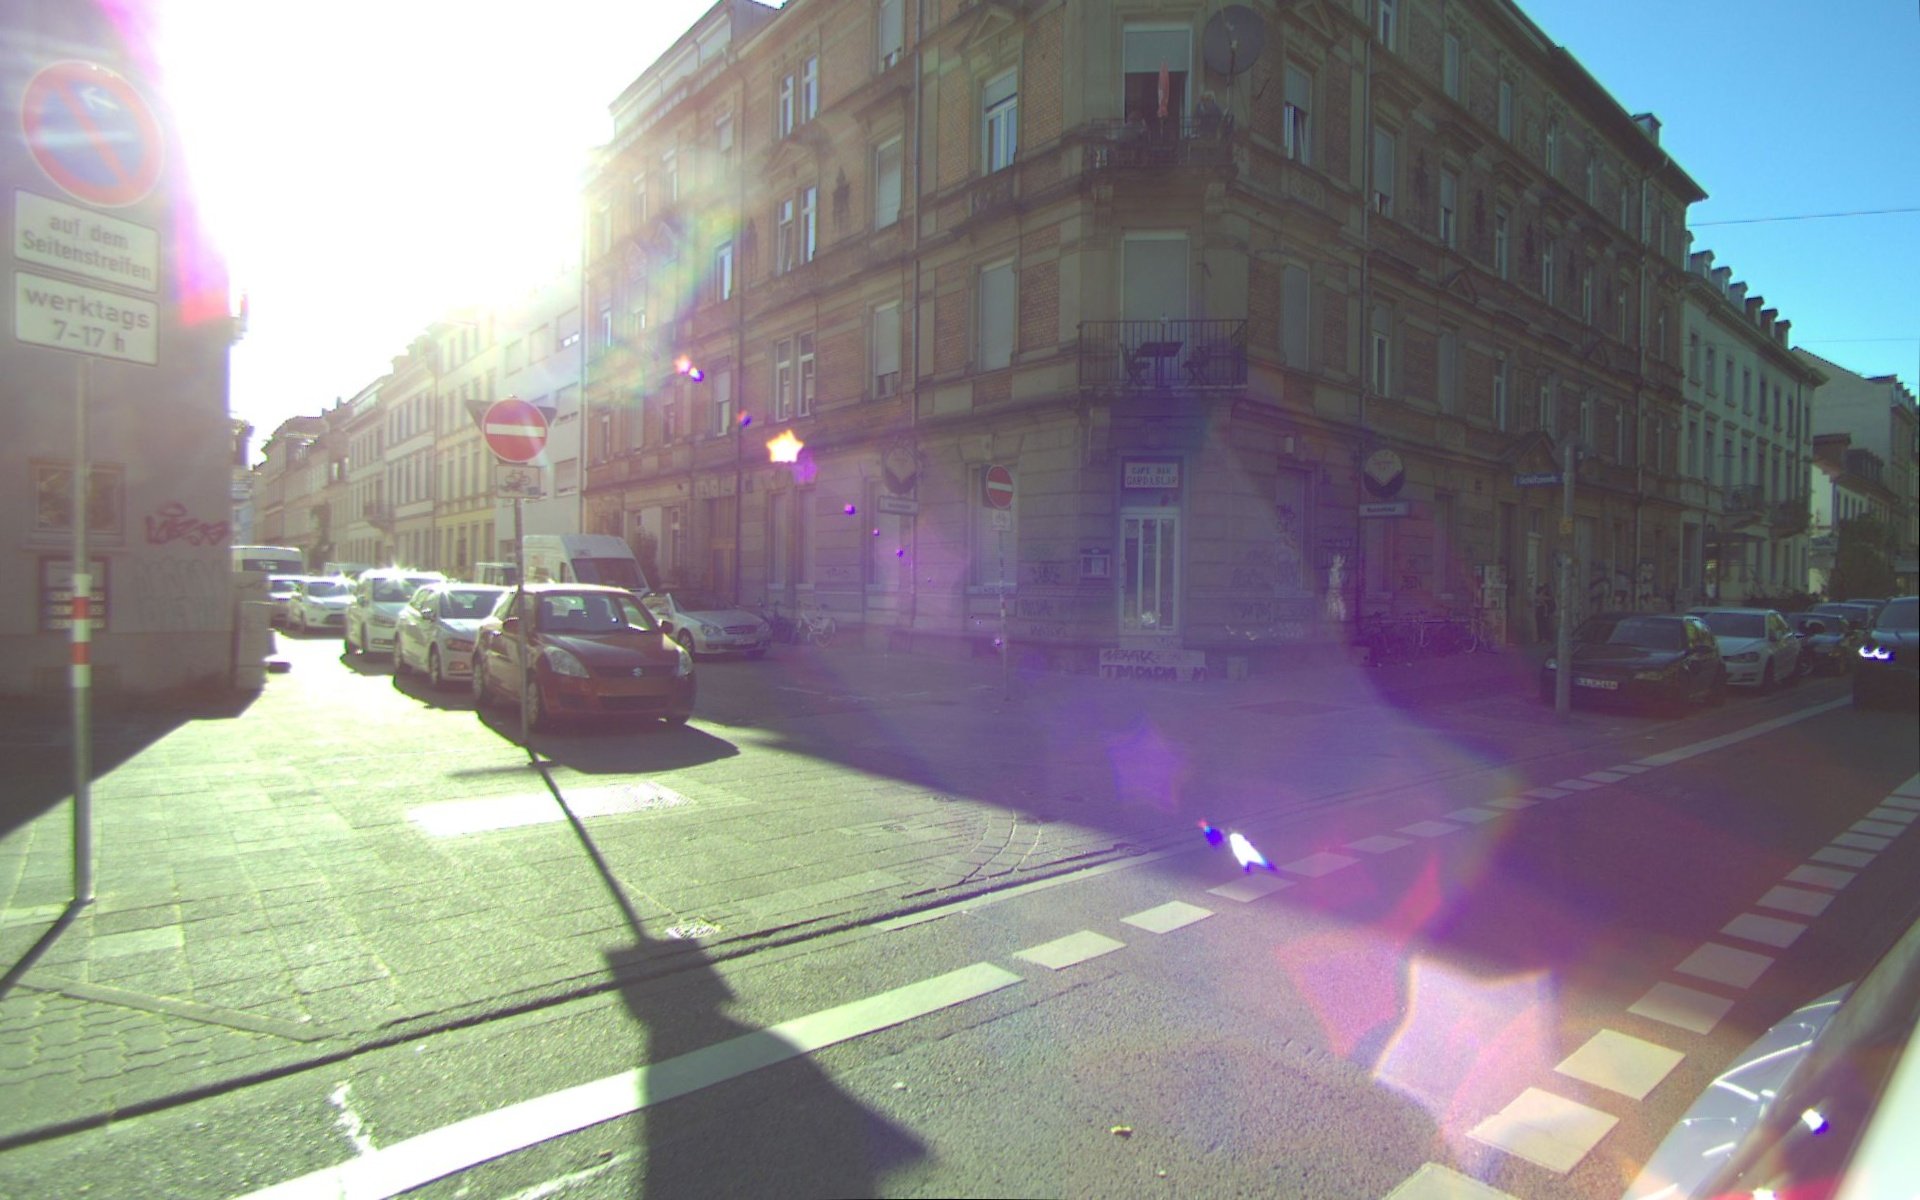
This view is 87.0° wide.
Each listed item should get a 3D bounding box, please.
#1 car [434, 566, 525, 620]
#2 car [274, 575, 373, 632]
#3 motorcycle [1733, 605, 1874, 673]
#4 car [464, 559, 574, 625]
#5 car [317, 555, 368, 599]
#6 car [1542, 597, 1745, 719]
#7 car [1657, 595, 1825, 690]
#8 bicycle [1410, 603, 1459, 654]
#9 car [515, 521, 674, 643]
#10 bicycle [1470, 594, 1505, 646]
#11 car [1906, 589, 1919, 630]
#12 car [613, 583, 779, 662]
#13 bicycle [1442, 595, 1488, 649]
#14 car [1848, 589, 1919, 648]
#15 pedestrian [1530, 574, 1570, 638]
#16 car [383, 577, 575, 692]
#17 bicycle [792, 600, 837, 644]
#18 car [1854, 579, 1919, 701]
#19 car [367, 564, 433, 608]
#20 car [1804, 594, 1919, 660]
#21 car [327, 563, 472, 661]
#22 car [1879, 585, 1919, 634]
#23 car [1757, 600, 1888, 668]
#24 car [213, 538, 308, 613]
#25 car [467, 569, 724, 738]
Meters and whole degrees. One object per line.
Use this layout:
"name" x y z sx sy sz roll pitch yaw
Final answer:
"car" -16.975 -0.272 35.679 1.965 1.816 3.831 0 1 -41
"car" -17.482 0.049 27.734 1.634 1.424 4.143 0 1 -42
"motorcycle" 17.232 0.770 20.748 2.121 1.305 0.637 1 1 29
"car" -13.700 -0.291 31.282 1.745 1.889 4.670 0 1 -42
"car" -33.448 -1.226 54.783 1.687 2.299 4.192 0 1 -41
"car" 10.178 0.735 14.956 3.993 1.438 1.651 -1 3 -44
"car" 14.219 0.685 18.354 3.942 1.438 1.606 -1 3 -41
"bicycle" 9.984 0.588 21.272 1.347 1.013 0.379 0 1 -39
"car" -9.596 -0.482 26.264 2.201 2.810 5.539 0 1 -39
"bicycle" 12.111 0.445 23.243 1.118 1.168 0.274 0 1 -39
"car" 37.622 0.399 38.531 3.837 1.523 1.730 0 5 -39
"car" -5.549 0.390 21.004 1.673 1.394 3.992 -3 3 -42
"bicycle" 11.173 0.470 22.380 1.347 1.168 0.379 0 1 -39
"car" 26.901 0.492 29.165 2.771 1.561 1.514 0 3 -40
"pedestrian" 15.675 0.144 26.878 0.753 1.677 0.716 0 1 -41
"car" -7.391 0.405 15.354 1.758 1.473 4.035 0 2 -39
"bicycle" -3.406 0.502 23.587 0.372 0.973 1.371 0 1 -40
"car" 15.465 0.596 15.479 4.546 1.726 1.948 1 -1 -39
"car" -24.417 -0.643 44.061 1.687 1.816 4.192 0 1 -41
"car" 22.854 0.631 25.585 3.674 1.470 1.610 -1 3 -39
"car" -10.874 0.165 19.492 1.758 1.657 4.256 0 1 -39
"car" 32.675 0.316 34.350 3.839 1.523 1.635 -1 6 -41
"car" 19.281 0.699 22.580 3.660 1.288 1.652 -1 3 -41
"car" -24.441 -0.847 35.272 2.111 2.428 5.641 0 1 -41
"car" -4.284 0.490 11.559 1.757 1.594 3.660 1 0 -37
